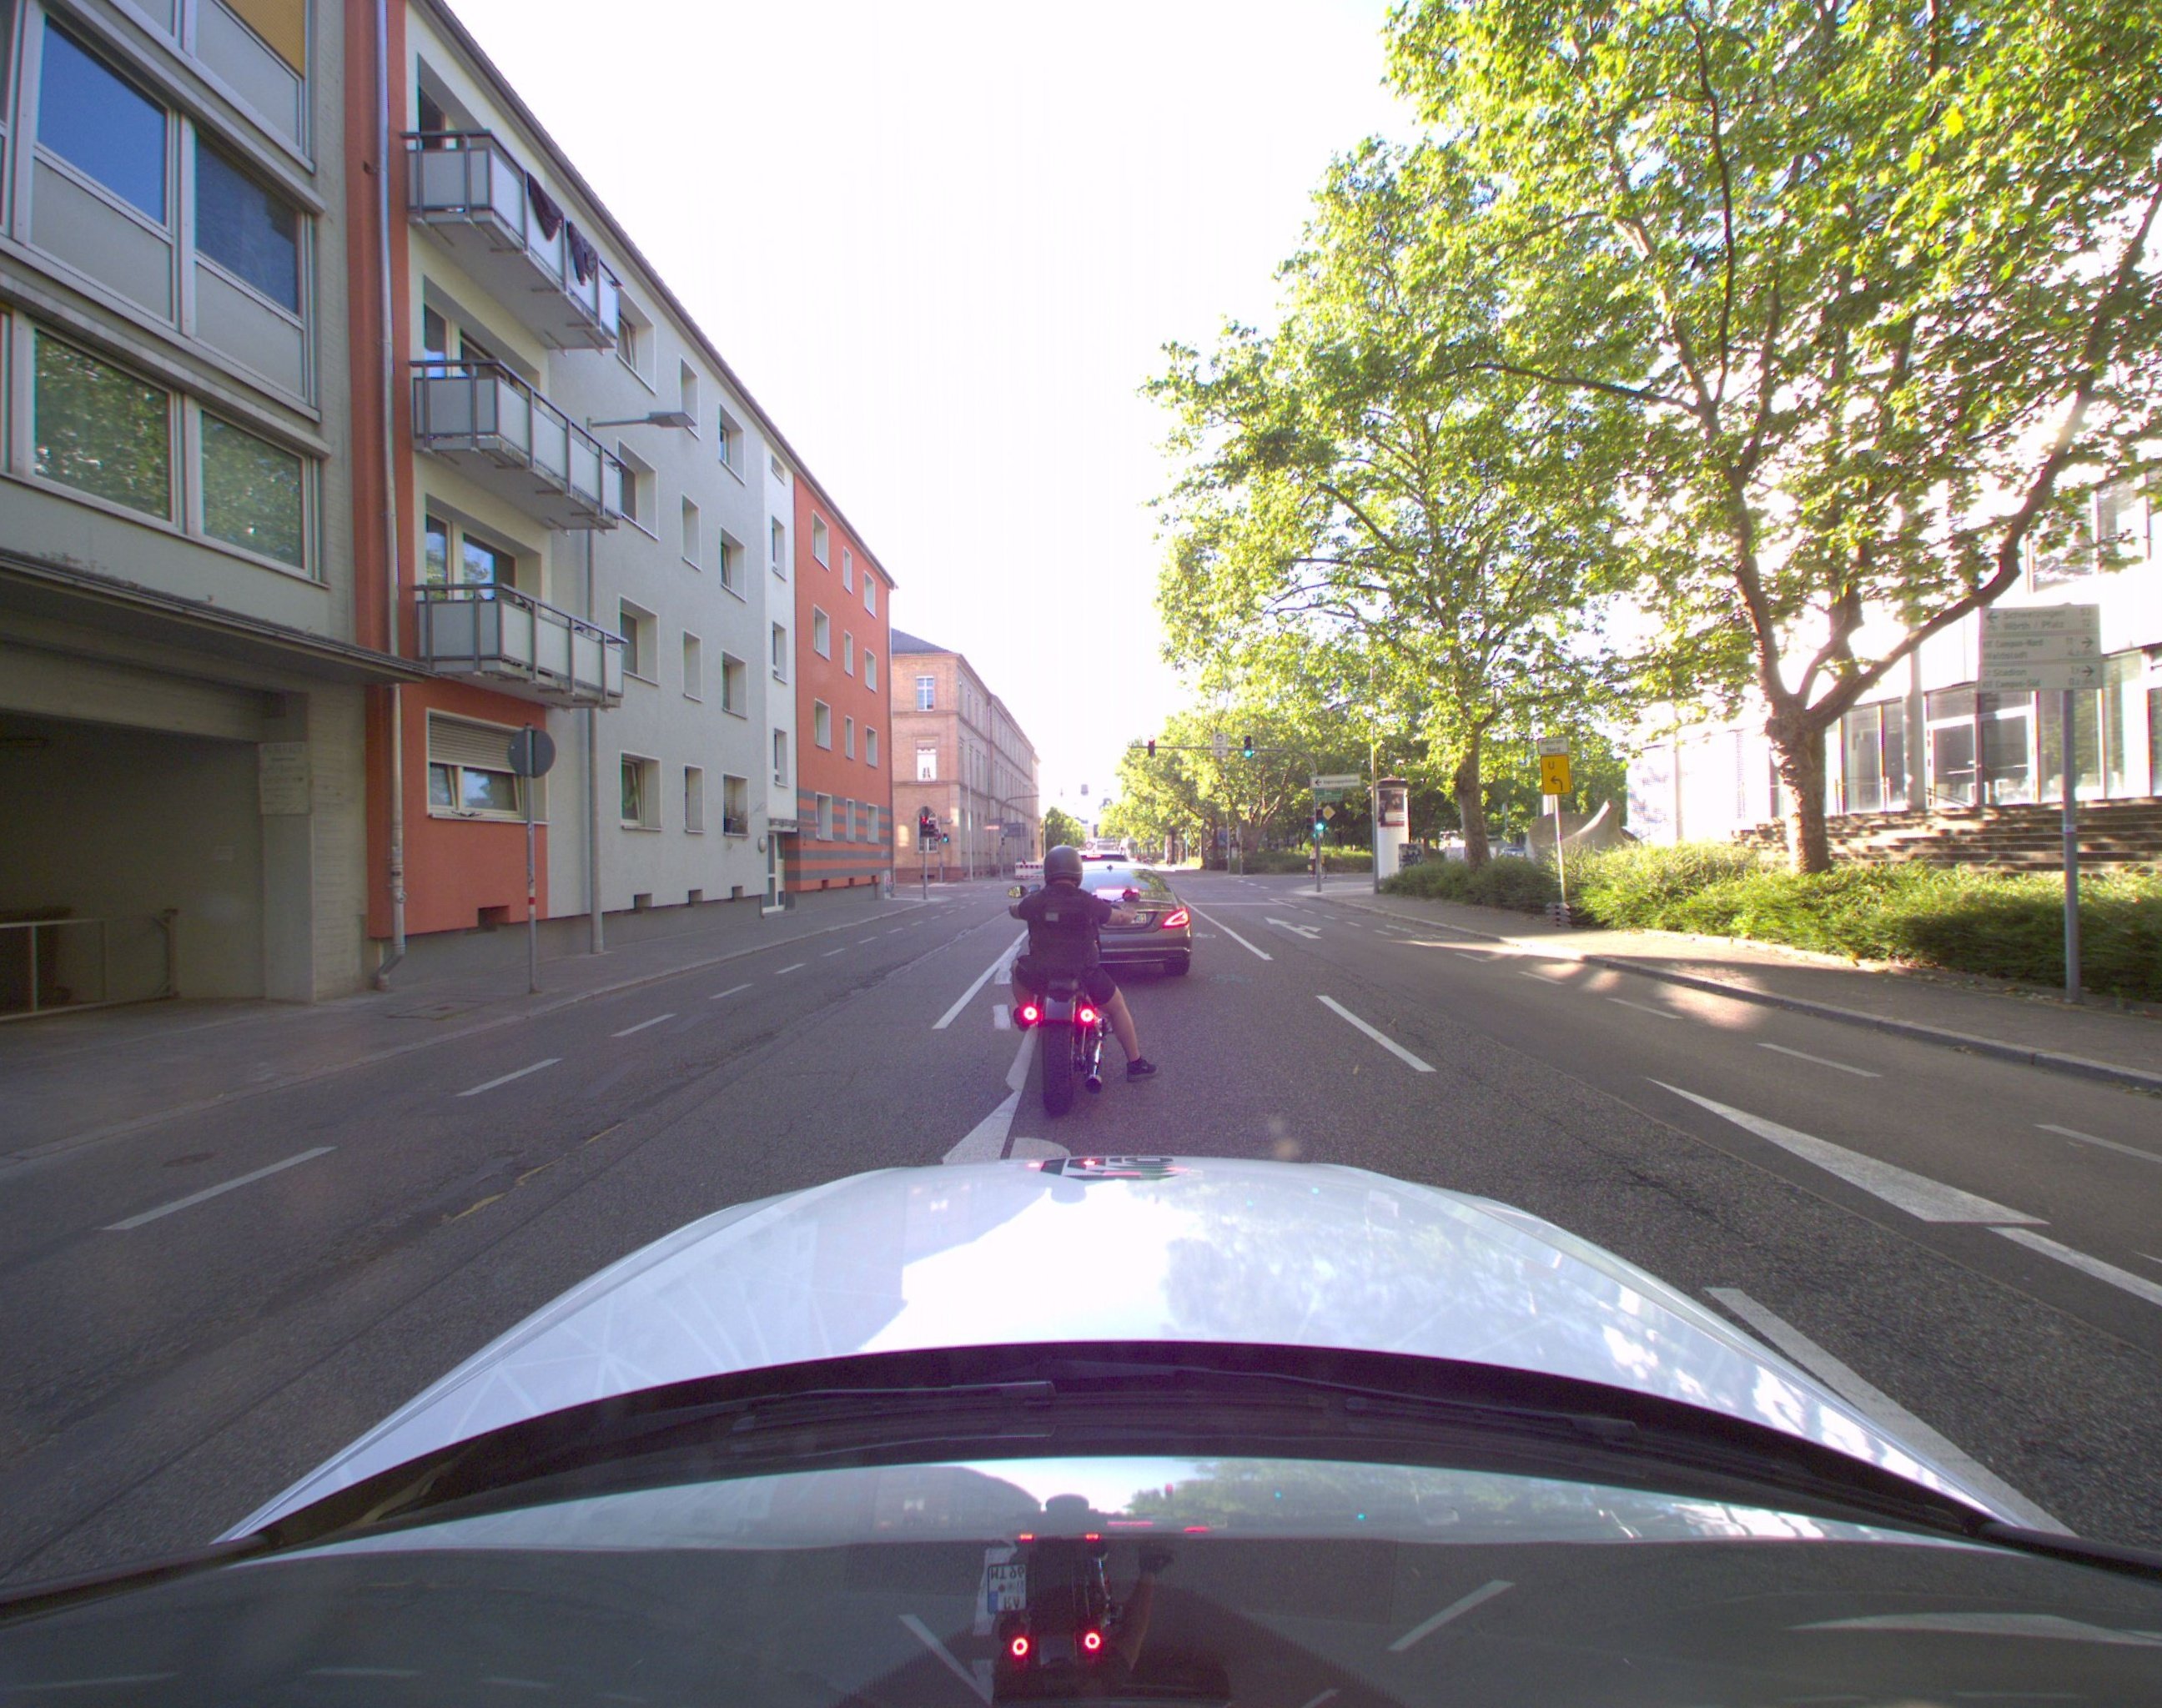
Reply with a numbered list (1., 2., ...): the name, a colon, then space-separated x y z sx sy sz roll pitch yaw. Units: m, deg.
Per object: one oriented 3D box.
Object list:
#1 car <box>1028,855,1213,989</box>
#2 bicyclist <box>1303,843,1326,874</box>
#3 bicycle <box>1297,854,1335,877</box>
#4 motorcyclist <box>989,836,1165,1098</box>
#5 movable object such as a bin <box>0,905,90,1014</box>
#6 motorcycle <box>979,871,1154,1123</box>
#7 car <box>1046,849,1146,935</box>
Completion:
1. car: 0.314 0.757 11.226 1.900 1.441 4.279 -1 0 -6
2. bicyclist: 12.302 0.230 42.900 0.719 1.582 0.929 0 -1 -21
3. bicycle: 12.345 0.622 42.809 0.718 1.172 2.160 0 -1 -22
4. motorcyclist: -0.011 0.687 5.389 1.057 1.582 0.908 0 -1 1
5. movable object such as a bin: -11.330 1.096 8.646 0.736 1.074 0.716 0 -1 2
6. motorcycle: -0.046 0.812 5.659 0.958 1.357 2.321 0 -1 2
7. car: 0.264 0.695 16.894 1.808 1.536 3.847 -1 0 -1
